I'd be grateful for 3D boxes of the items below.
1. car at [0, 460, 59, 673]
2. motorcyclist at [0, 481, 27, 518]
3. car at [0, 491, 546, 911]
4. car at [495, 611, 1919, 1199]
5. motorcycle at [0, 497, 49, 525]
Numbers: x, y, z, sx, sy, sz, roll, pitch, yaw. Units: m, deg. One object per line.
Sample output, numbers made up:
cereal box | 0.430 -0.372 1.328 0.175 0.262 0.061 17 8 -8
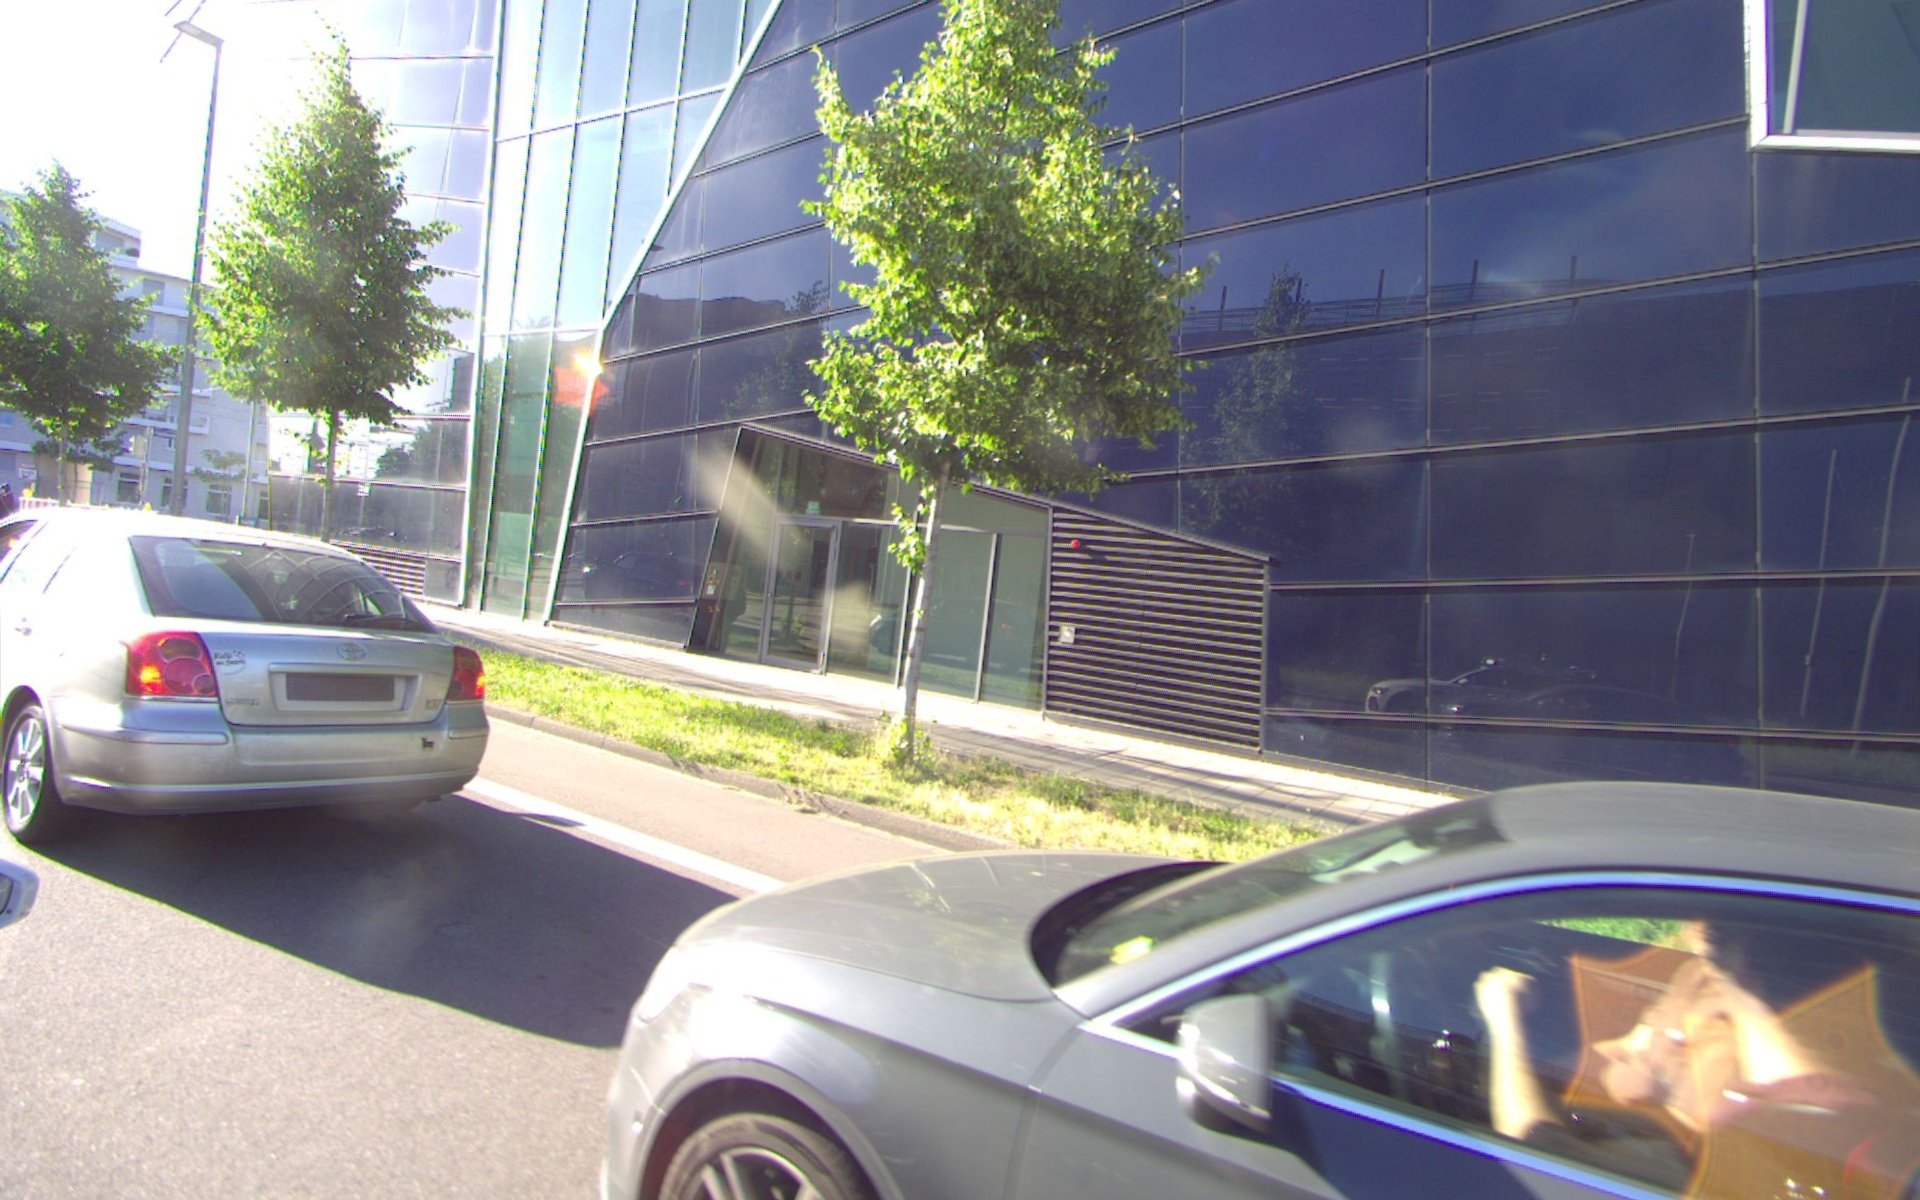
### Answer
car | -9.852 -0.524 8.776 4.190 1.716 1.749 7 -1 32
motorcyclist | -41.797 -4.437 44.135 0.918 1.500 1.162 6 1 -31
car | -4.553 0.249 5.685 4.553 1.500 1.747 7 0 34
car | 1.292 0.999 1.665 4.196 1.408 1.748 7 -1 34
motorcycle | -41.826 -3.980 44.187 2.434 1.013 1.162 7 0 -31
